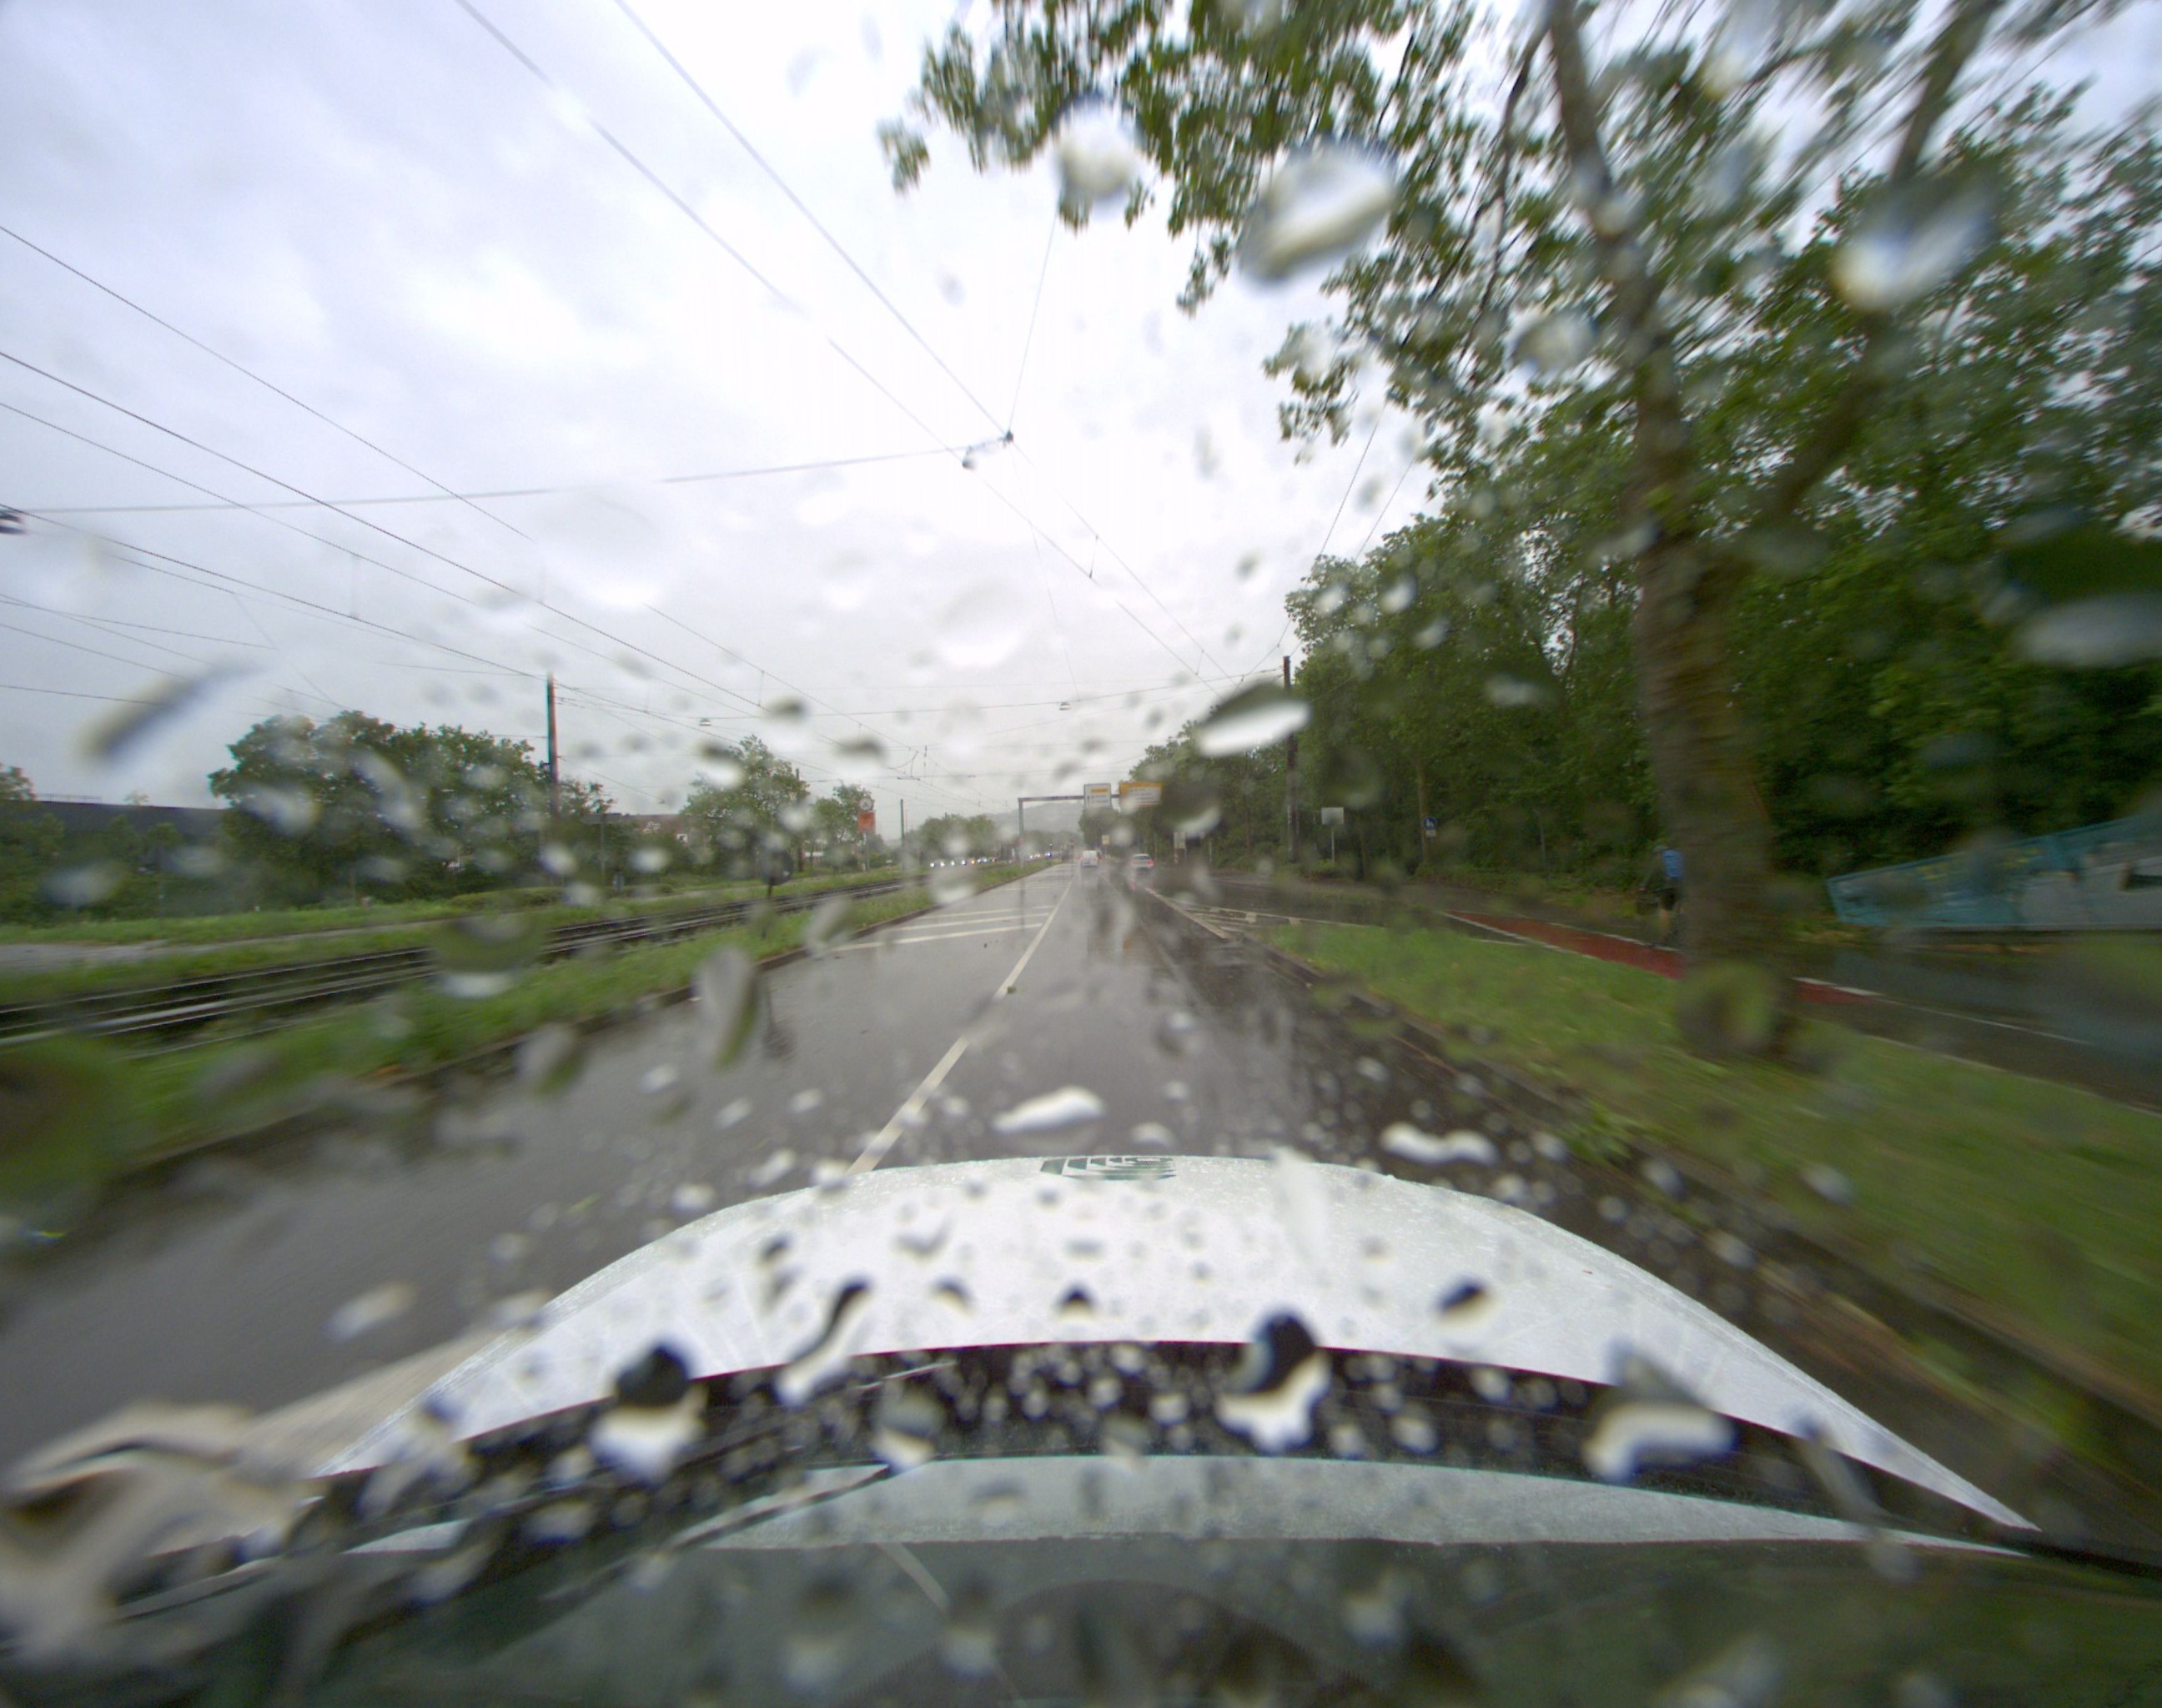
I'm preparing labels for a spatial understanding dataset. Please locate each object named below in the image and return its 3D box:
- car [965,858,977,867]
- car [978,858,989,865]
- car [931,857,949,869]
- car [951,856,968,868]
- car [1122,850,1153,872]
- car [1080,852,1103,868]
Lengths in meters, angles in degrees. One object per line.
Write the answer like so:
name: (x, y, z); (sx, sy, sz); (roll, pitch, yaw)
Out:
car: (-20.639, 1.553, 152.454); (1.715, 1.494, 3.999); (-1, 0, -1)
car: (-20.384, 1.583, 170.399); (1.715, 1.494, 3.999); (-1, 0, -1)
car: (-20.278, 1.276, 117.280); (1.939, 1.686, 4.775); (-2, 0, -3)
car: (-17.193, 1.146, 115.391); (1.939, 1.616, 4.983); (-2, 0, -3)
car: (4.150, 0.494, 60.795); (1.942, 1.536, 4.465); (-2, 0, -1)
car: (0.959, 0.590, 77.015); (2.070, 1.420, 4.000); (-1, 0, 0)
